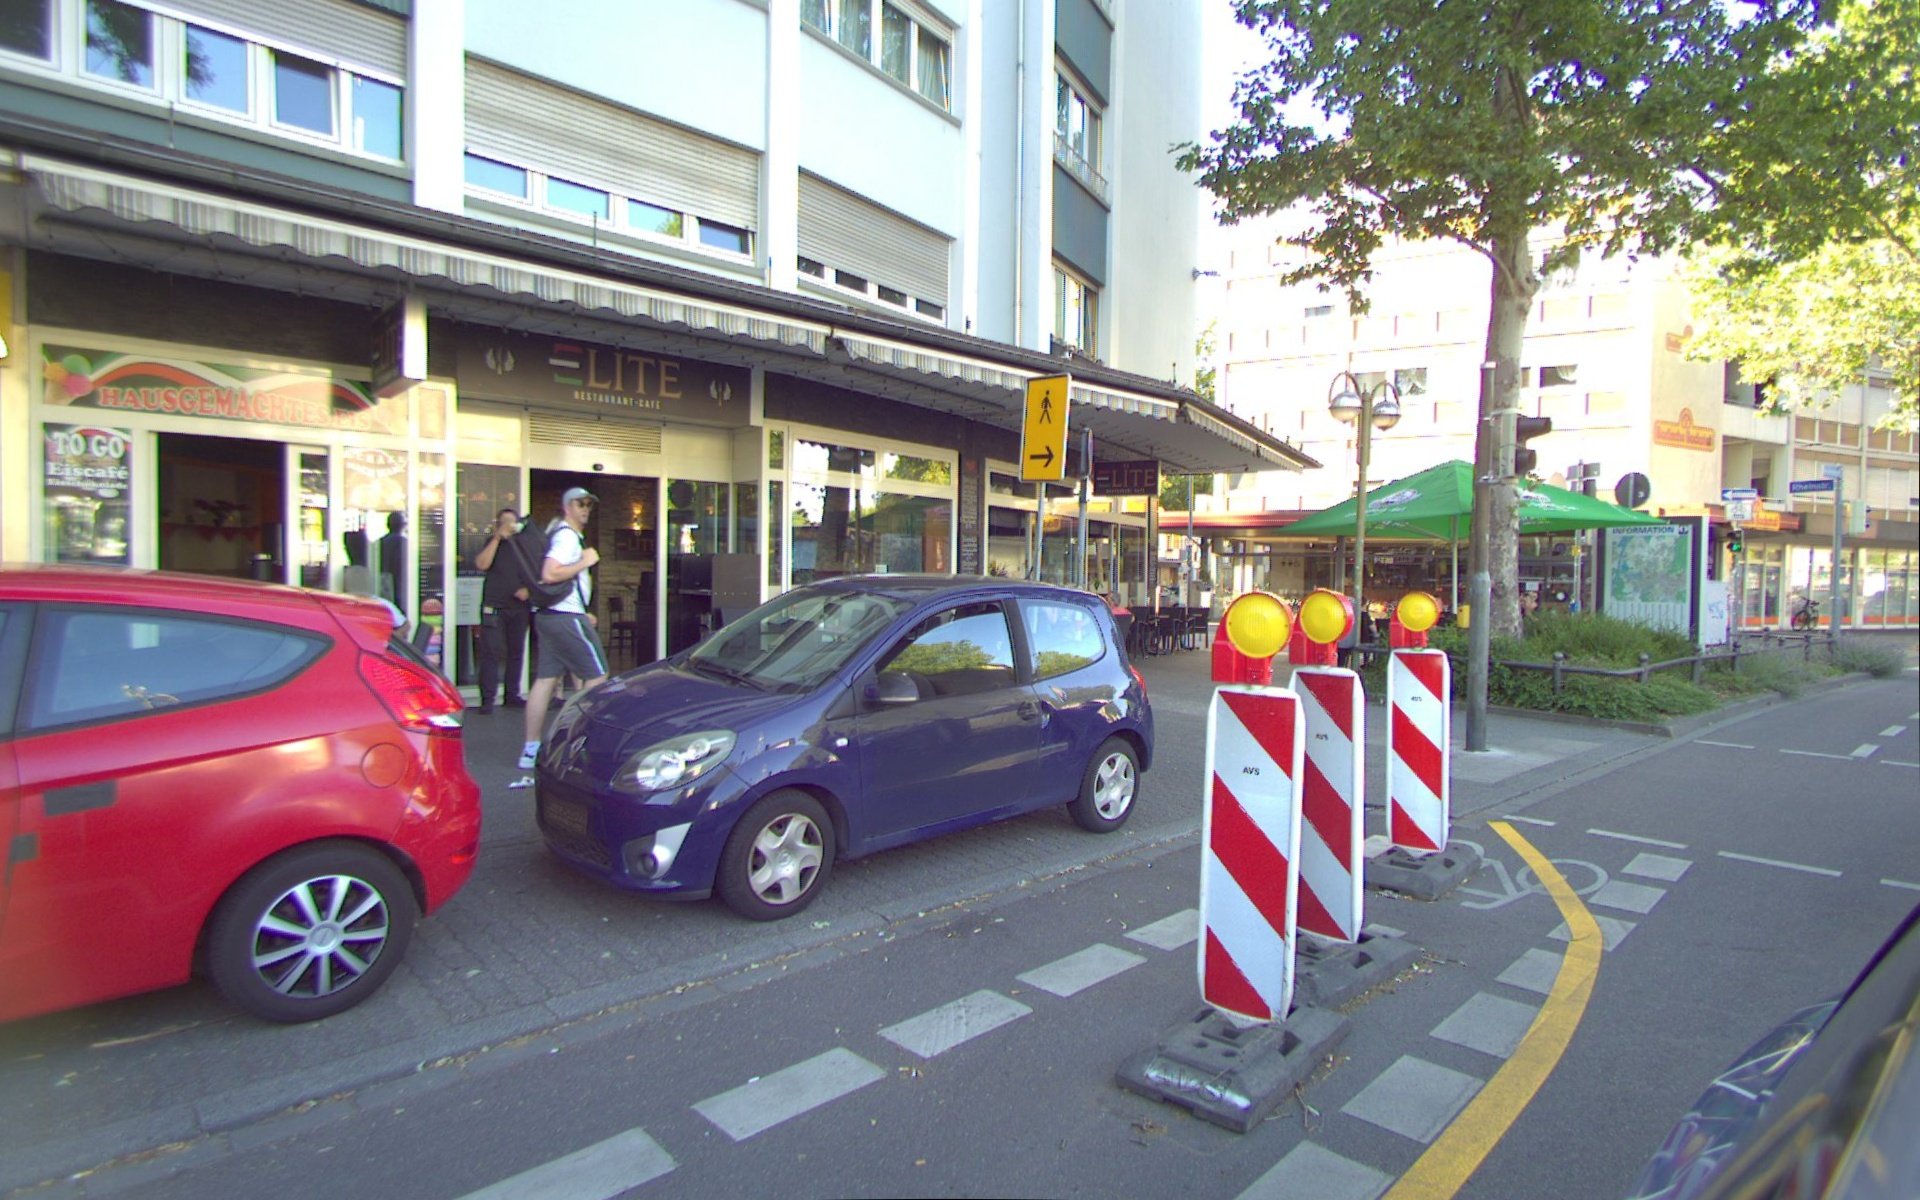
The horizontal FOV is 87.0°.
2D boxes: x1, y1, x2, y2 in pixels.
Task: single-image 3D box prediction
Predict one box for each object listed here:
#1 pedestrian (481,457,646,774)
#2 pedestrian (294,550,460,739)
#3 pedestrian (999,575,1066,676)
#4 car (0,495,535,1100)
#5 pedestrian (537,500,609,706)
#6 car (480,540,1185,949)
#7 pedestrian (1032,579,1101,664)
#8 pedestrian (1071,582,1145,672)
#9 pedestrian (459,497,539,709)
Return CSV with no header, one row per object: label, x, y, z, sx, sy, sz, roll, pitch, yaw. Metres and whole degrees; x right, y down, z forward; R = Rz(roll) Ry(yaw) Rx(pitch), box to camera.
pedestrian,-2.690,0.086,6.871,0.874,1.983,0.648,0,1,-41
pedestrian,-4.596,0.297,7.961,0.937,1.352,1.069,0,2,-42
pedestrian,0.973,0.326,13.739,0.685,1.323,0.793,1,1,-13
car,-3.512,0.477,2.989,3.761,1.614,1.784,-1,5,-45
pedestrian,-3.477,0.022,9.107,0.545,1.803,0.397,1,3,-11
car,-0.529,0.499,5.693,3.551,1.485,1.769,-1,5,-44
pedestrian,1.584,0.302,15.108,0.776,1.207,0.648,0,1,-34
pedestrian,2.069,0.362,14.215,0.685,1.207,0.881,0,1,-18
pedestrian,-4.047,0.009,8.888,0.547,1.800,0.395,-1,4,-43
